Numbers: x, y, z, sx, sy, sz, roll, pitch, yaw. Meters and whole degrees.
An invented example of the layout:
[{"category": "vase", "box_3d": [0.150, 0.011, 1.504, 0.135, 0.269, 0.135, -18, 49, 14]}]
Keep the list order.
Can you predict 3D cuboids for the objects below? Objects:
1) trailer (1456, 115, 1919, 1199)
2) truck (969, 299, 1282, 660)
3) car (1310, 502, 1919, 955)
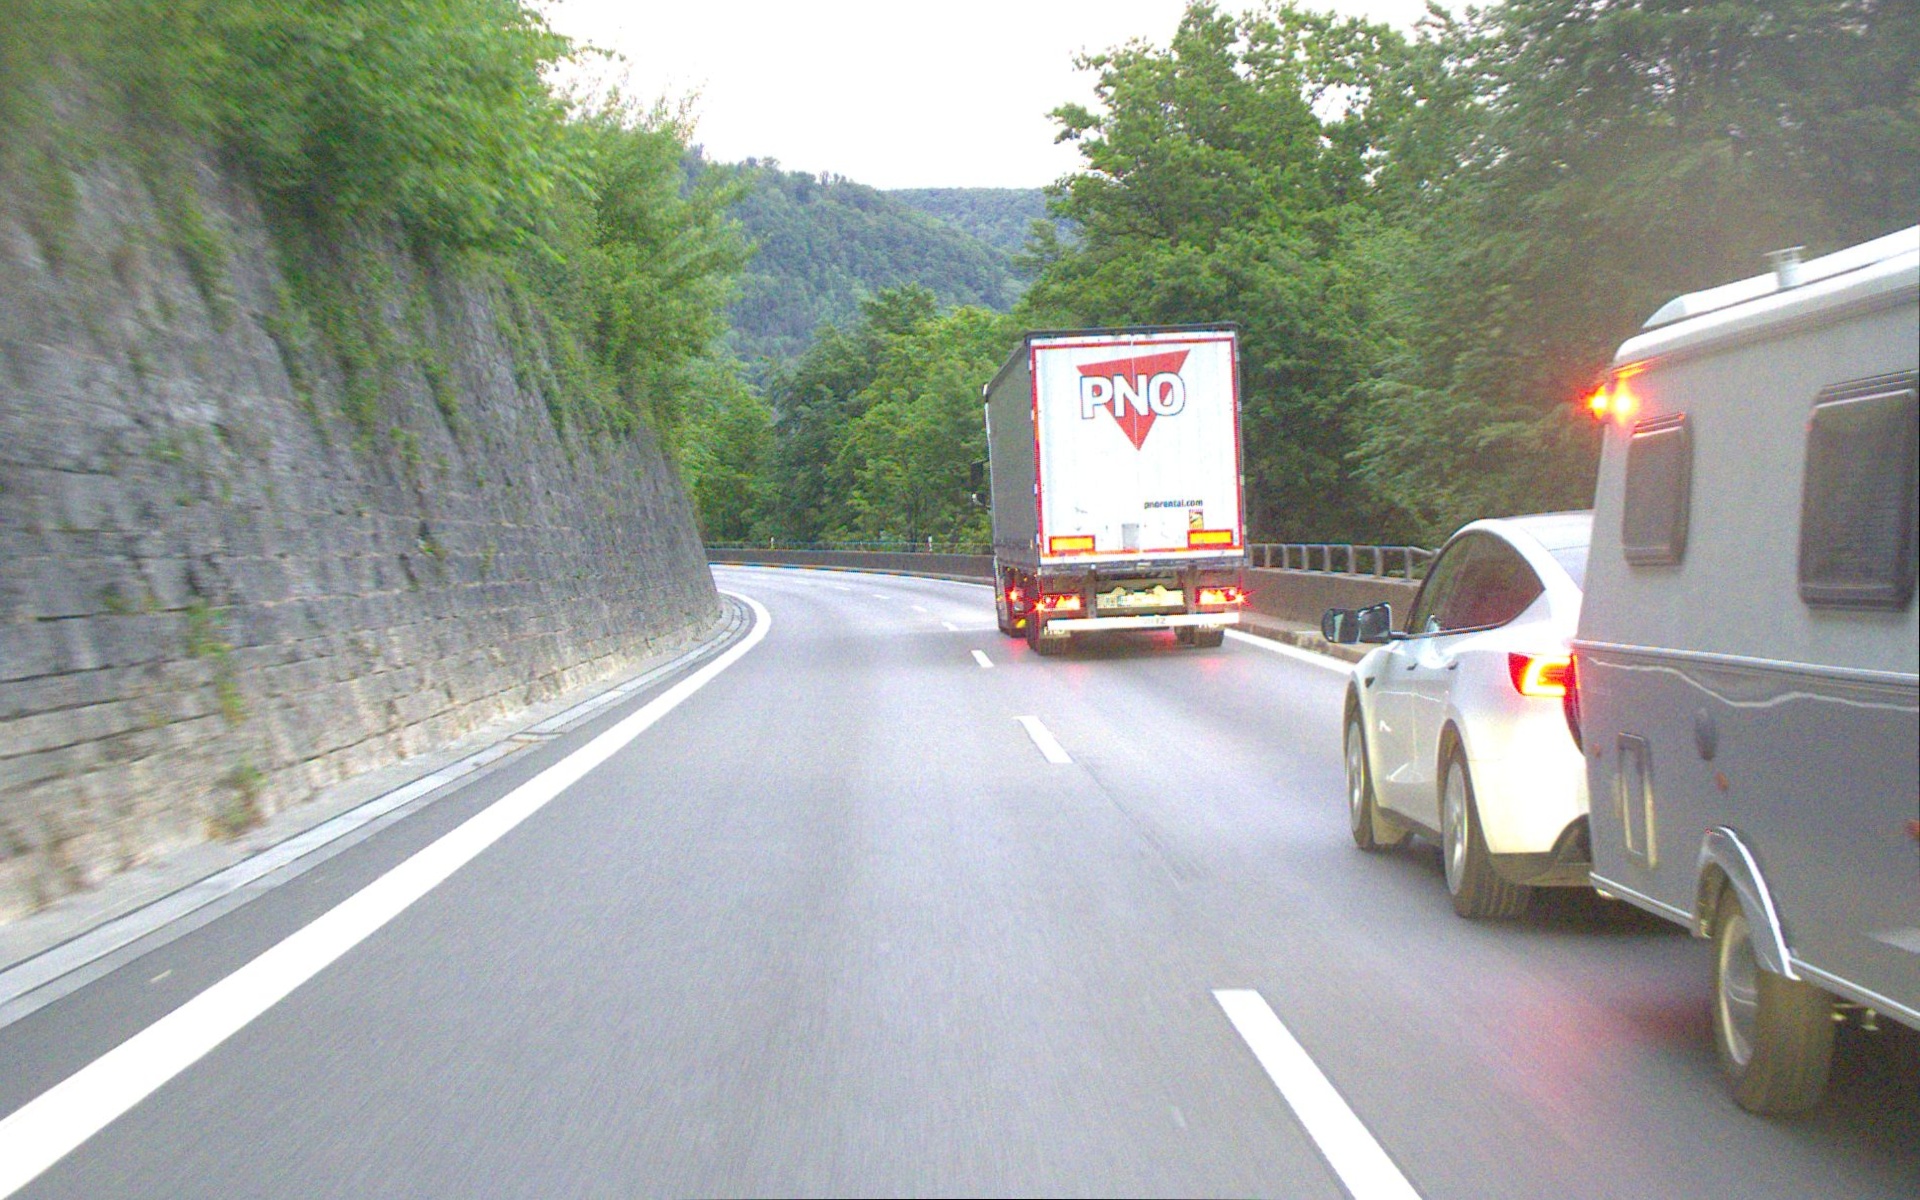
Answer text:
[{"category": "trailer", "box_3d": [2.891, 0.160, 9.452, 2.054, 2.367, 5.938, -1, 1, -1]}, {"category": "truck", "box_3d": [1.984, -1.539, 48.974, 3.294, 4.158, 16.504, -2, 1, -1]}, {"category": "car", "box_3d": [2.825, 0.427, 14.817, 1.993, 1.609, 4.865, -1, 1, -2]}]
